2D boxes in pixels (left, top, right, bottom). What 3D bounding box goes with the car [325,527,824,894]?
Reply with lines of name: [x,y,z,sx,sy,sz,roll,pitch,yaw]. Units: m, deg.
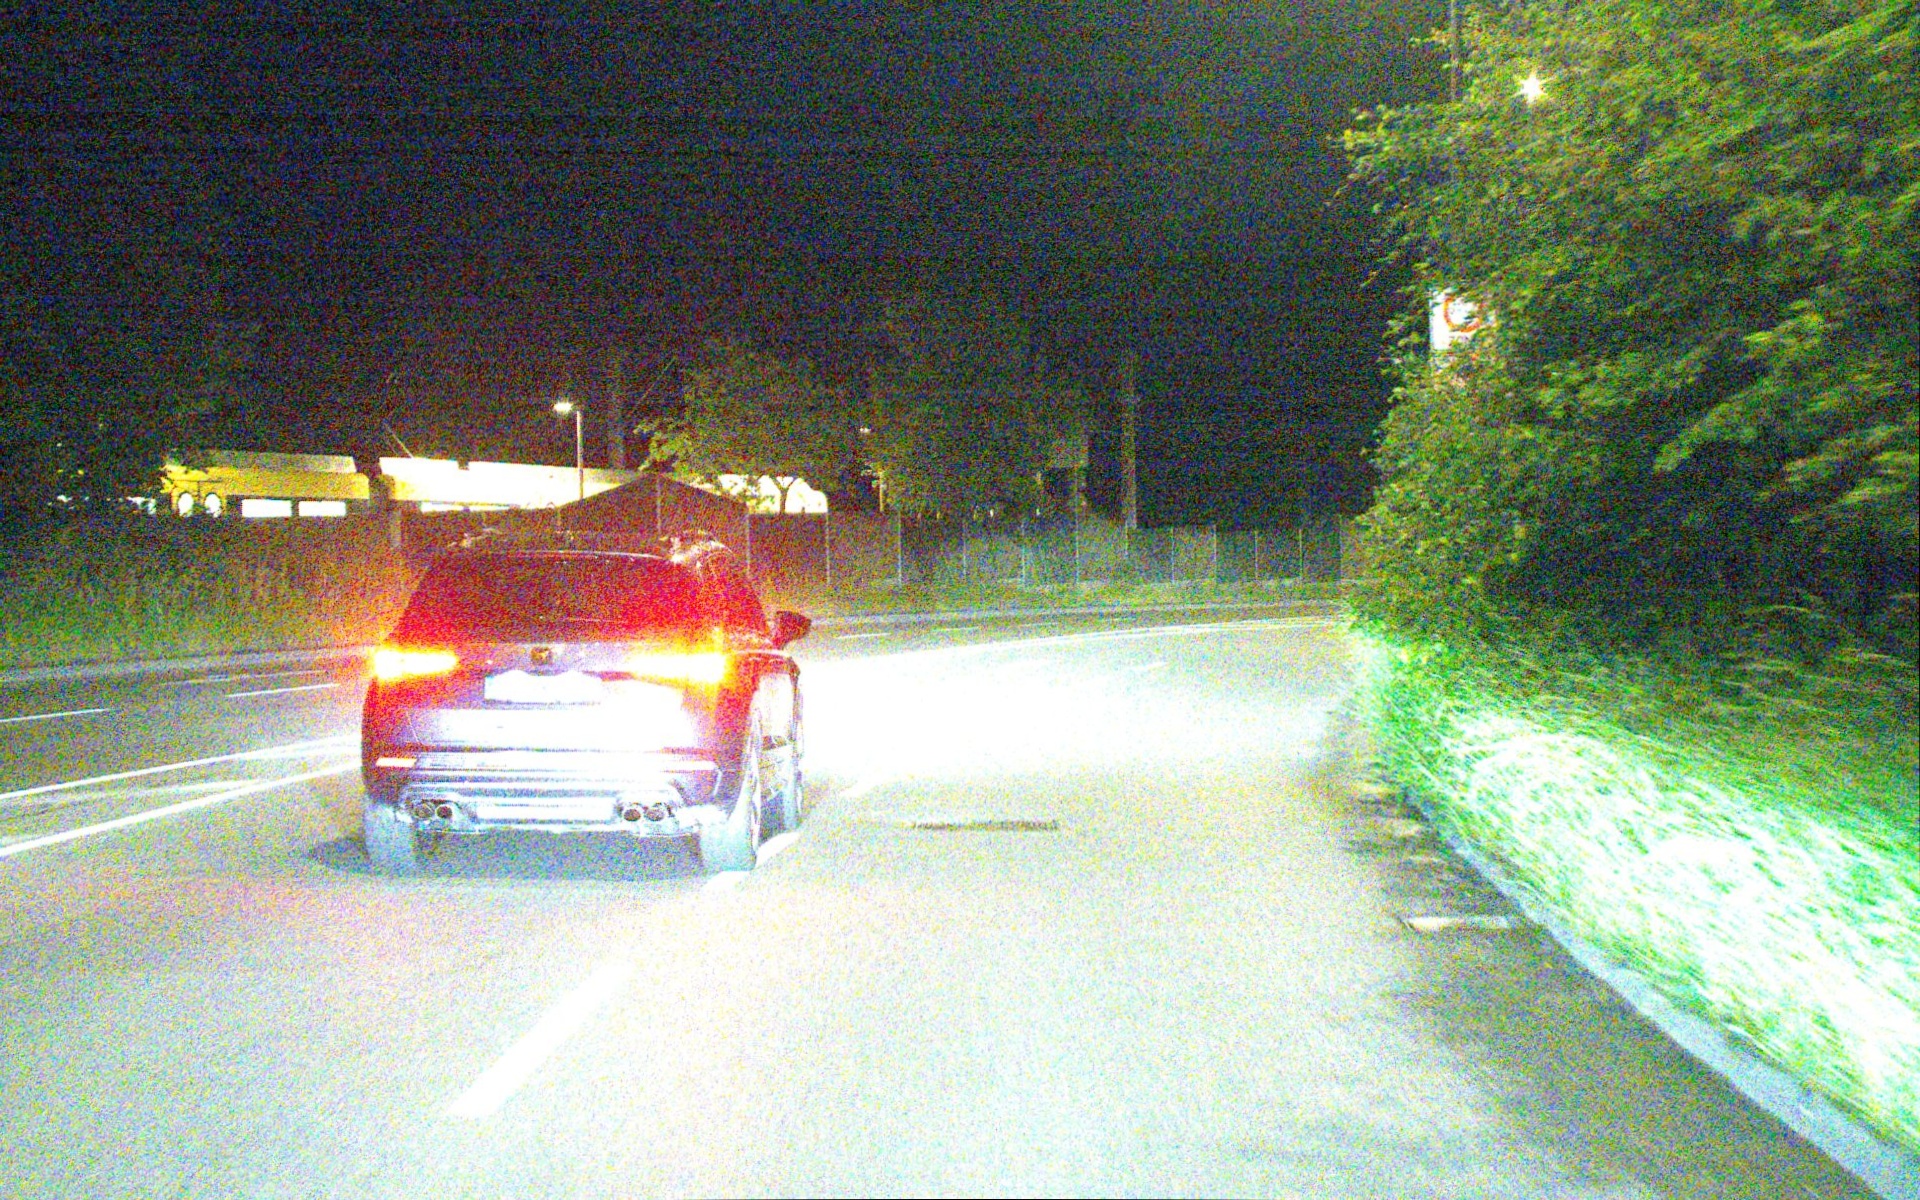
car: [-1.767,0.449,17.019,1.852,1.577,4.007,1,1,2]
